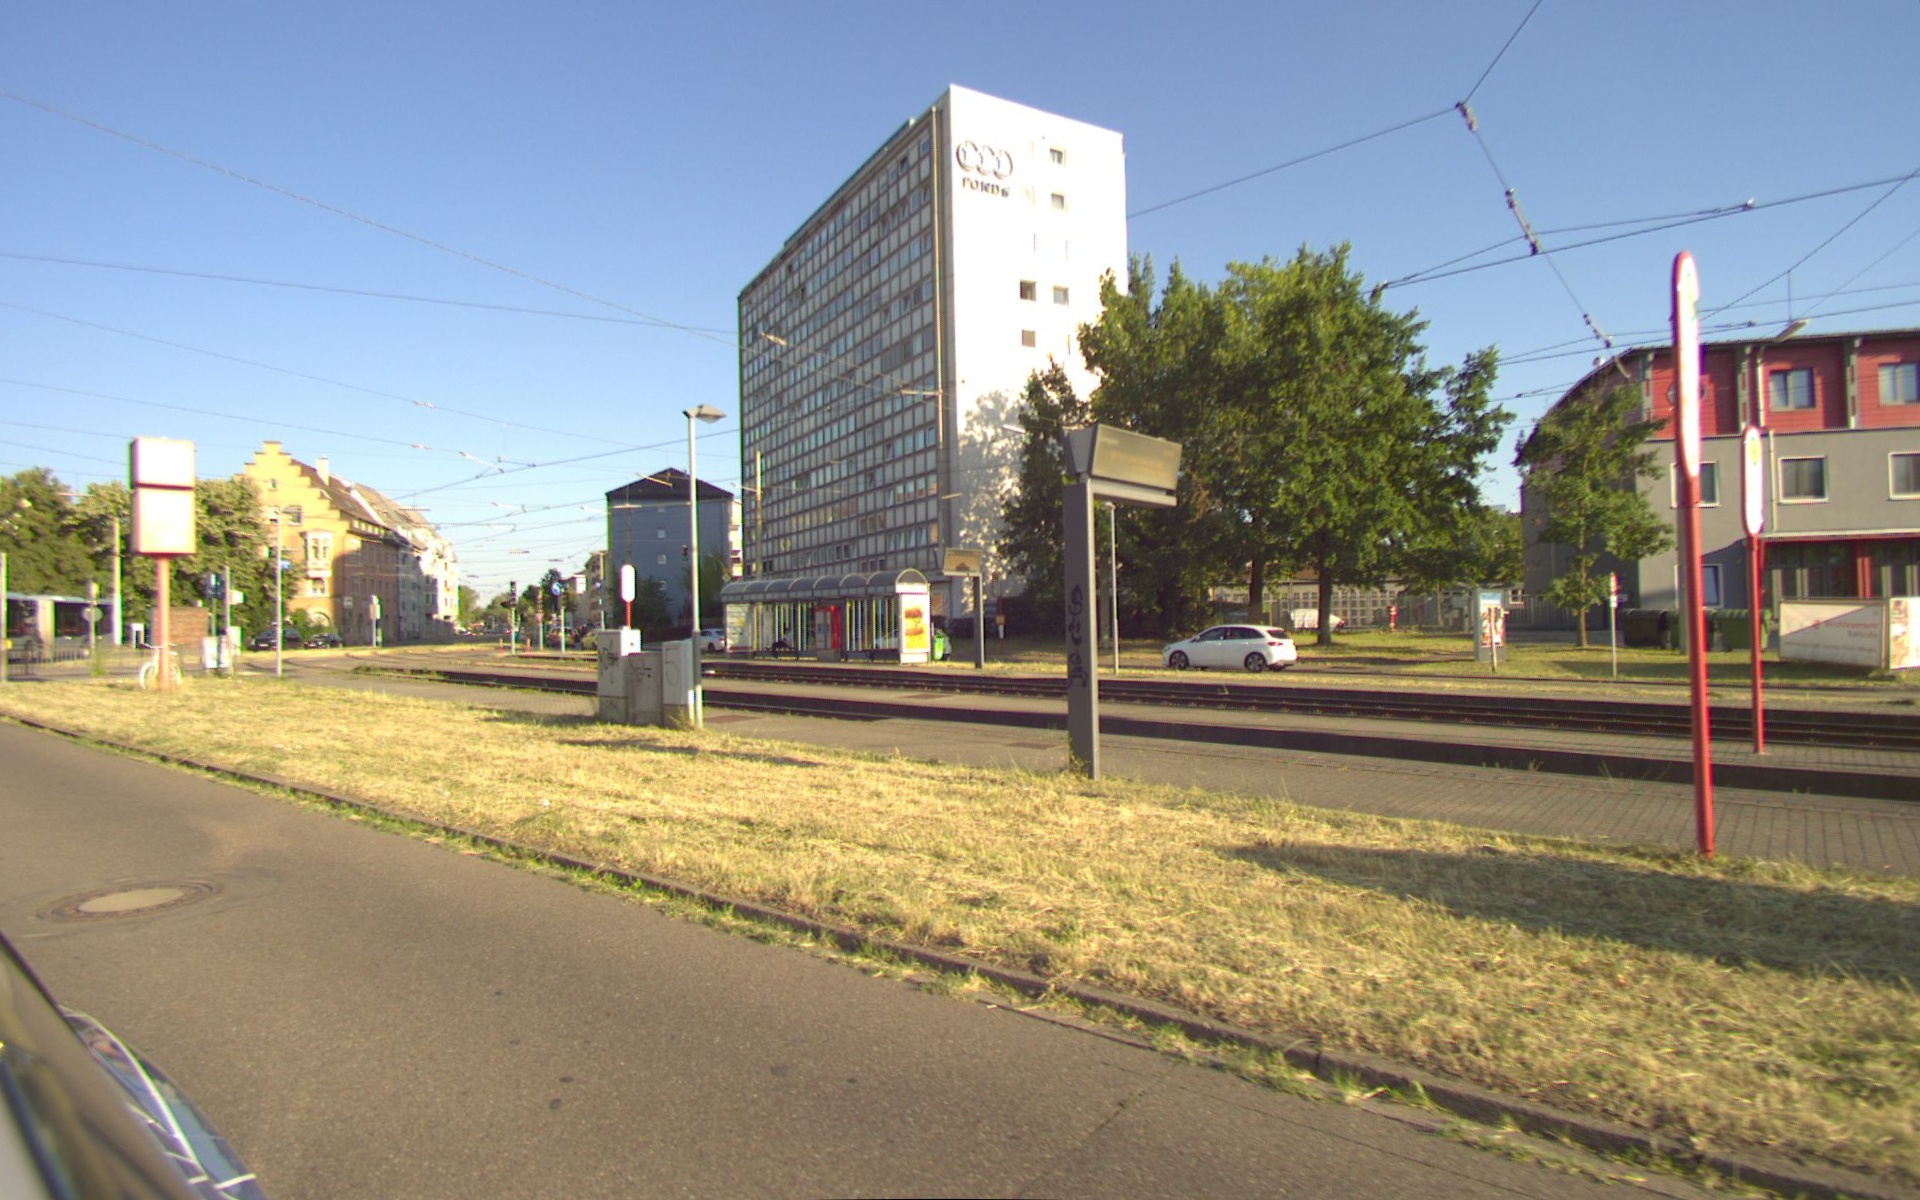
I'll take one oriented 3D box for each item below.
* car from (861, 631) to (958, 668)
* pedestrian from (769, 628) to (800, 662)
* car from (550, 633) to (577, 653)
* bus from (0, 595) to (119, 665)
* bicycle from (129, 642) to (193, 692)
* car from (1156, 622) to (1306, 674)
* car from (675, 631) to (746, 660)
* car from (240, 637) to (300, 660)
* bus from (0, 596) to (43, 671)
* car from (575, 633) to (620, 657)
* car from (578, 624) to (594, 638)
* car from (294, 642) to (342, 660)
[{"bbox_3d":[-2.217,2.117,43.567,4.127,1.485,1.718,-3,-2,41],"label":"car"},{"bbox_3d":[-6.673,1.704,38.499,0.661,1.277,0.943,0,-1,35],"label":"pedestrian"},{"bbox_3d":[-30.615,3.321,78.111,1.850,1.485,4.142,0,-2,-22],"label":"car"},{"bbox_3d":[-43.418,1.401,48.180,2.568,3.048,8.887,0,-2,-22],"label":"bus"},{"bbox_3d":[-17.169,1.425,21.787,0.597,1.001,1.752,0,-2,-22],"label":"bicycle"},{"bbox_3d":[8.824,1.563,33.222,4.434,1.560,1.718,-3,-2,41],"label":"car"},{"bbox_3d":[-13.260,2.406,53.718,4.130,1.485,1.717,-3,-2,44],"label":"car"},{"bbox_3d":[-48.199,3.363,70.787,1.716,1.485,3.982,-1,-2,-4],"label":"car"},{"bbox_3d":[-40.052,1.336,39.942,2.568,3.048,9.609,0,-2,-22],"label":"bus"},{"bbox_3d":[-23.544,2.917,65.647,1.713,1.485,4.139,0,-2,-35],"label":"car"},{"bbox_3d":[-48.575,4.020,131.527,1.850,1.700,4.142,-1,-2,-19],"label":"car"},{"bbox_3d":[-53.693,4.262,84.729,1.716,1.425,3.982,-1,-2,-5],"label":"car"}]
